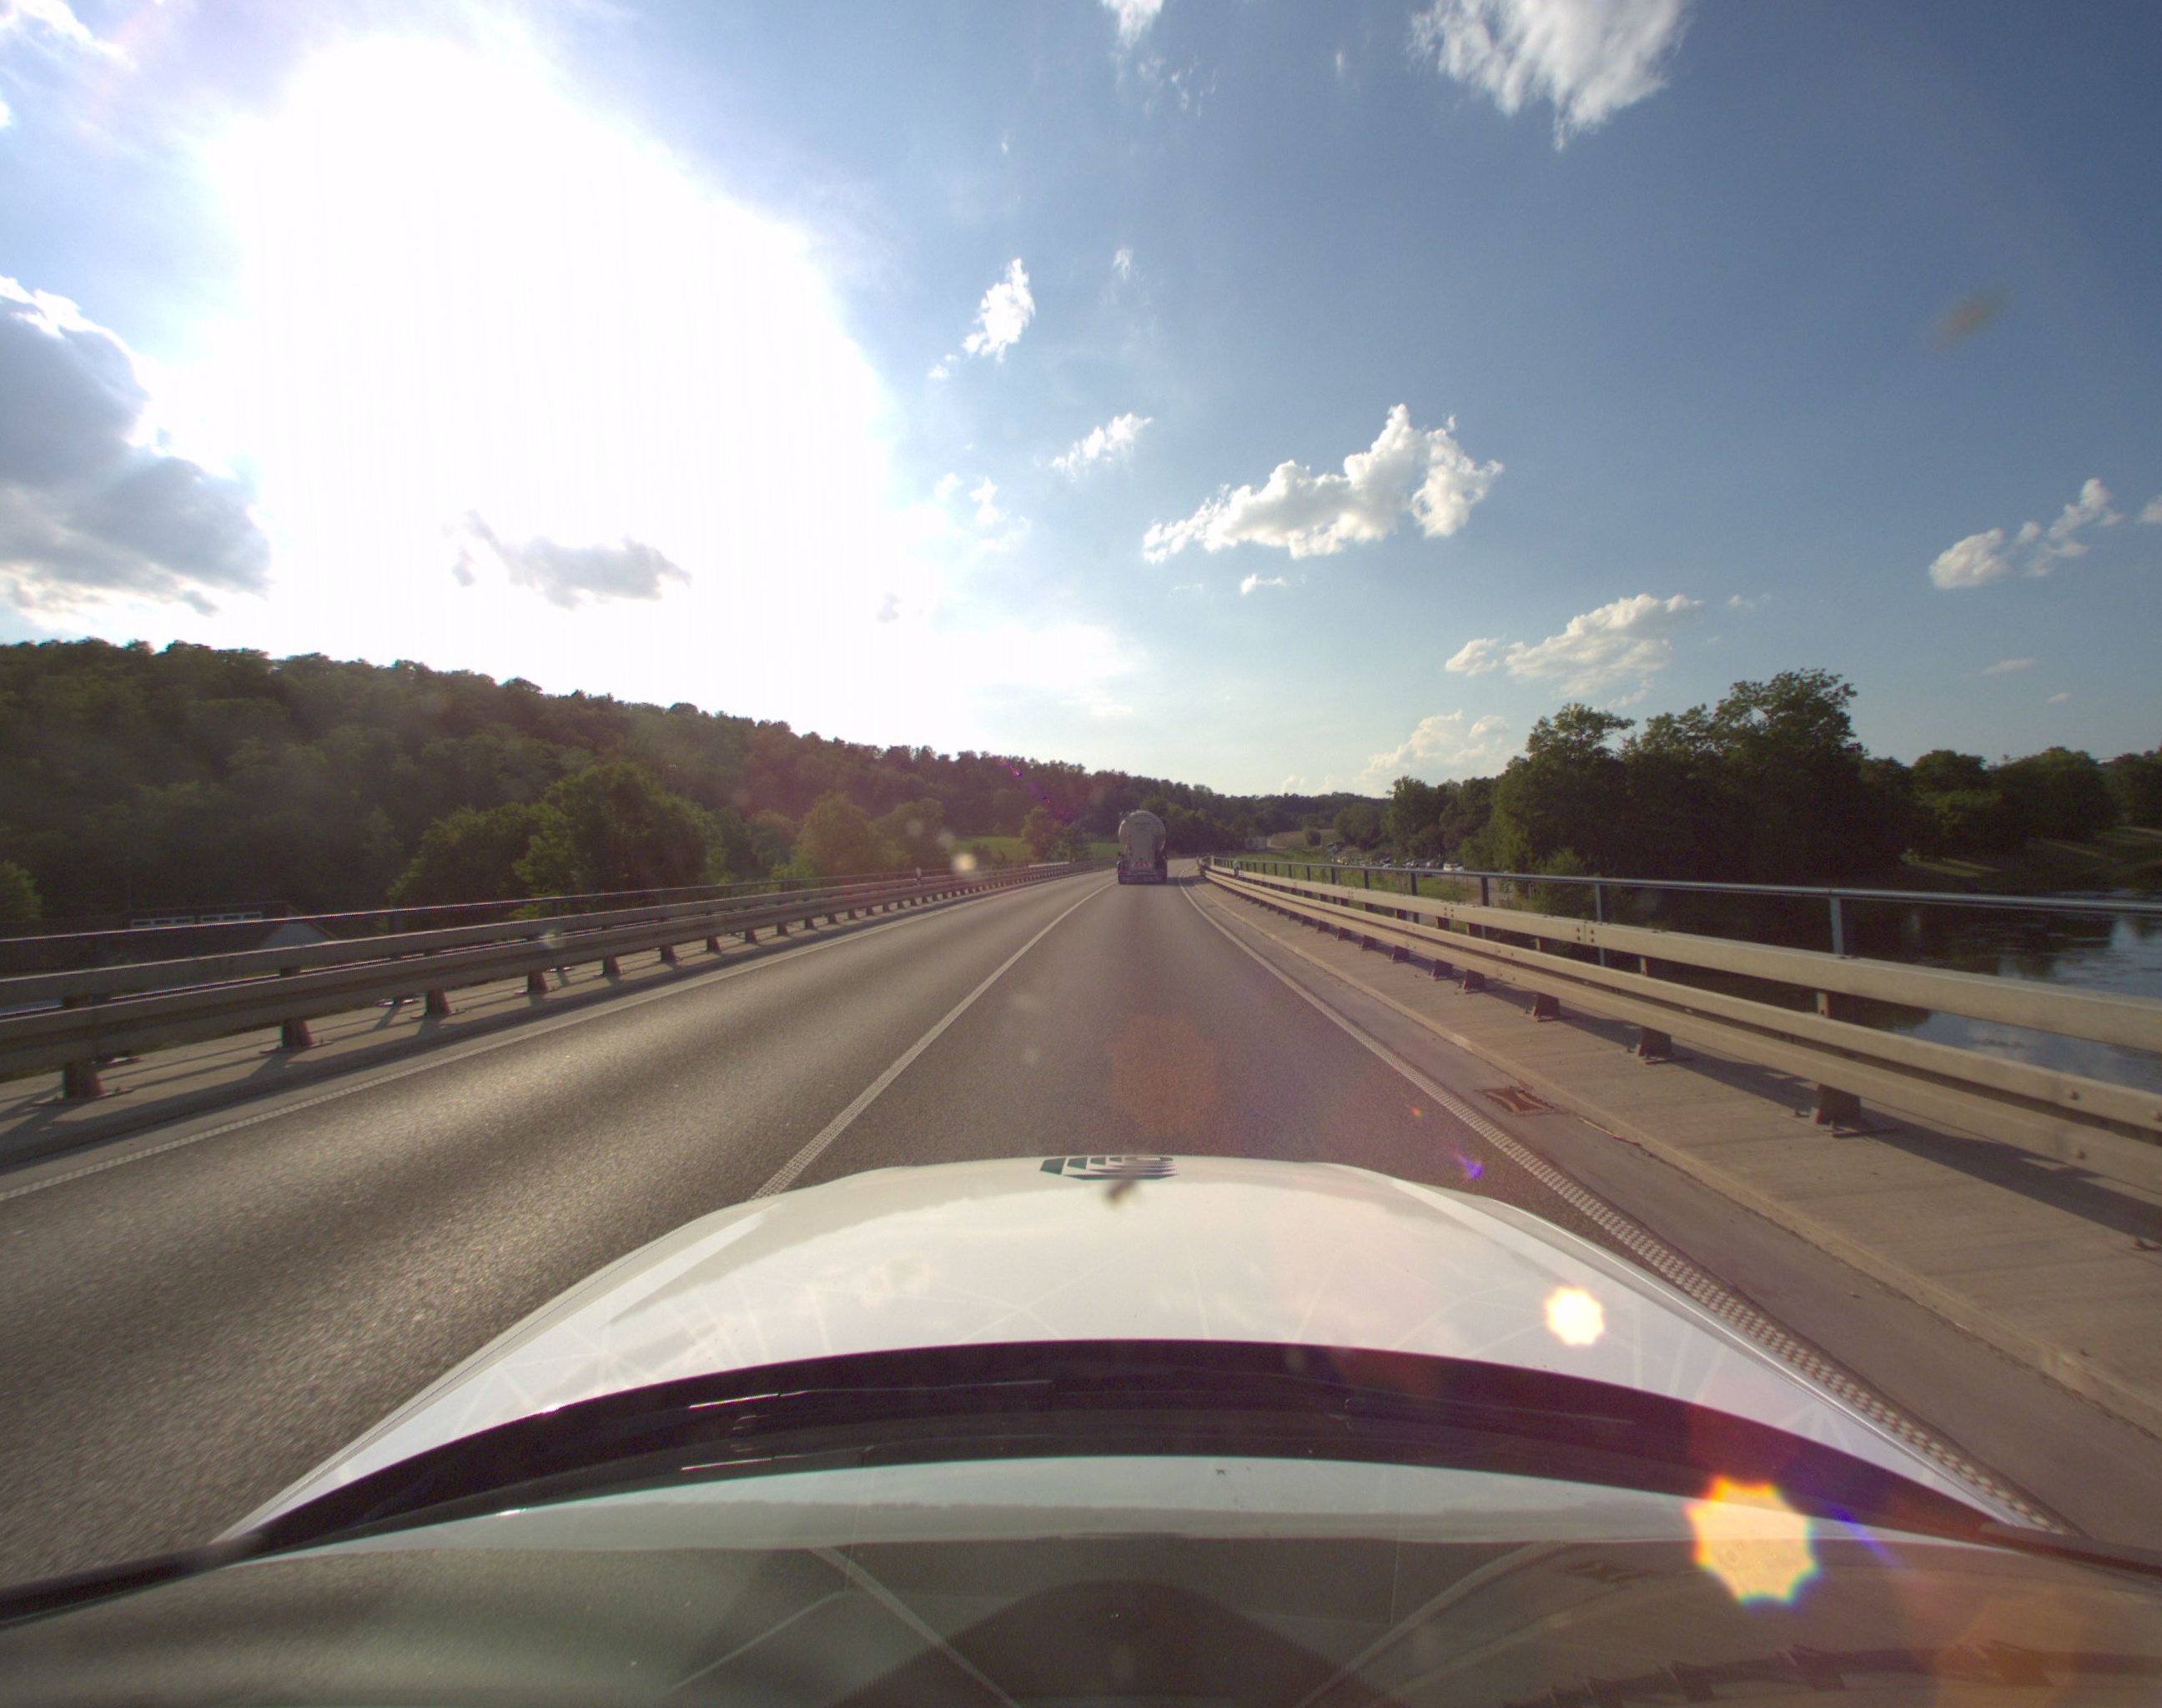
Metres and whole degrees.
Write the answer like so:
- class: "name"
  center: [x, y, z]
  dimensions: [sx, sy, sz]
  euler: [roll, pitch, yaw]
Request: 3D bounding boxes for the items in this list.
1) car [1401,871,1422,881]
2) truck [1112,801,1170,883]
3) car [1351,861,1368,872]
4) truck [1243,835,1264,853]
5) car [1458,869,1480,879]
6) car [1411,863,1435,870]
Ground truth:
- class: "car"
  center: [57.215, 3.778, 141.118]
  dimensions: [1.811, 1.401, 4.257]
  euler: [-3, 1, 1]
- class: "truck"
  center: [3.782, -0.567, 48.212]
  dimensions: [2.878, 4.143, 13.195]
  euler: [-1, 0, 6]
- class: "car"
  center: [60.180, 2.721, 176.217]
  dimensions: [2.109, 2.017, 5.387]
  euler: [-5, 1, 5]
- class: "truck"
  center: [42.104, -2.461, 198.419]
  dimensions: [3.157, 4.227, 13.237]
  euler: [-2, 1, 19]
- class: "car"
  center: [61.562, 3.198, 129.379]
  dimensions: [1.648, 1.496, 4.226]
  euler: [-2, -1, 3]
- class: "car"
  center: [69.069, 2.501, 164.590]
  dimensions: [4.222, 1.456, 1.616]
  euler: [-1, 0, -2]
